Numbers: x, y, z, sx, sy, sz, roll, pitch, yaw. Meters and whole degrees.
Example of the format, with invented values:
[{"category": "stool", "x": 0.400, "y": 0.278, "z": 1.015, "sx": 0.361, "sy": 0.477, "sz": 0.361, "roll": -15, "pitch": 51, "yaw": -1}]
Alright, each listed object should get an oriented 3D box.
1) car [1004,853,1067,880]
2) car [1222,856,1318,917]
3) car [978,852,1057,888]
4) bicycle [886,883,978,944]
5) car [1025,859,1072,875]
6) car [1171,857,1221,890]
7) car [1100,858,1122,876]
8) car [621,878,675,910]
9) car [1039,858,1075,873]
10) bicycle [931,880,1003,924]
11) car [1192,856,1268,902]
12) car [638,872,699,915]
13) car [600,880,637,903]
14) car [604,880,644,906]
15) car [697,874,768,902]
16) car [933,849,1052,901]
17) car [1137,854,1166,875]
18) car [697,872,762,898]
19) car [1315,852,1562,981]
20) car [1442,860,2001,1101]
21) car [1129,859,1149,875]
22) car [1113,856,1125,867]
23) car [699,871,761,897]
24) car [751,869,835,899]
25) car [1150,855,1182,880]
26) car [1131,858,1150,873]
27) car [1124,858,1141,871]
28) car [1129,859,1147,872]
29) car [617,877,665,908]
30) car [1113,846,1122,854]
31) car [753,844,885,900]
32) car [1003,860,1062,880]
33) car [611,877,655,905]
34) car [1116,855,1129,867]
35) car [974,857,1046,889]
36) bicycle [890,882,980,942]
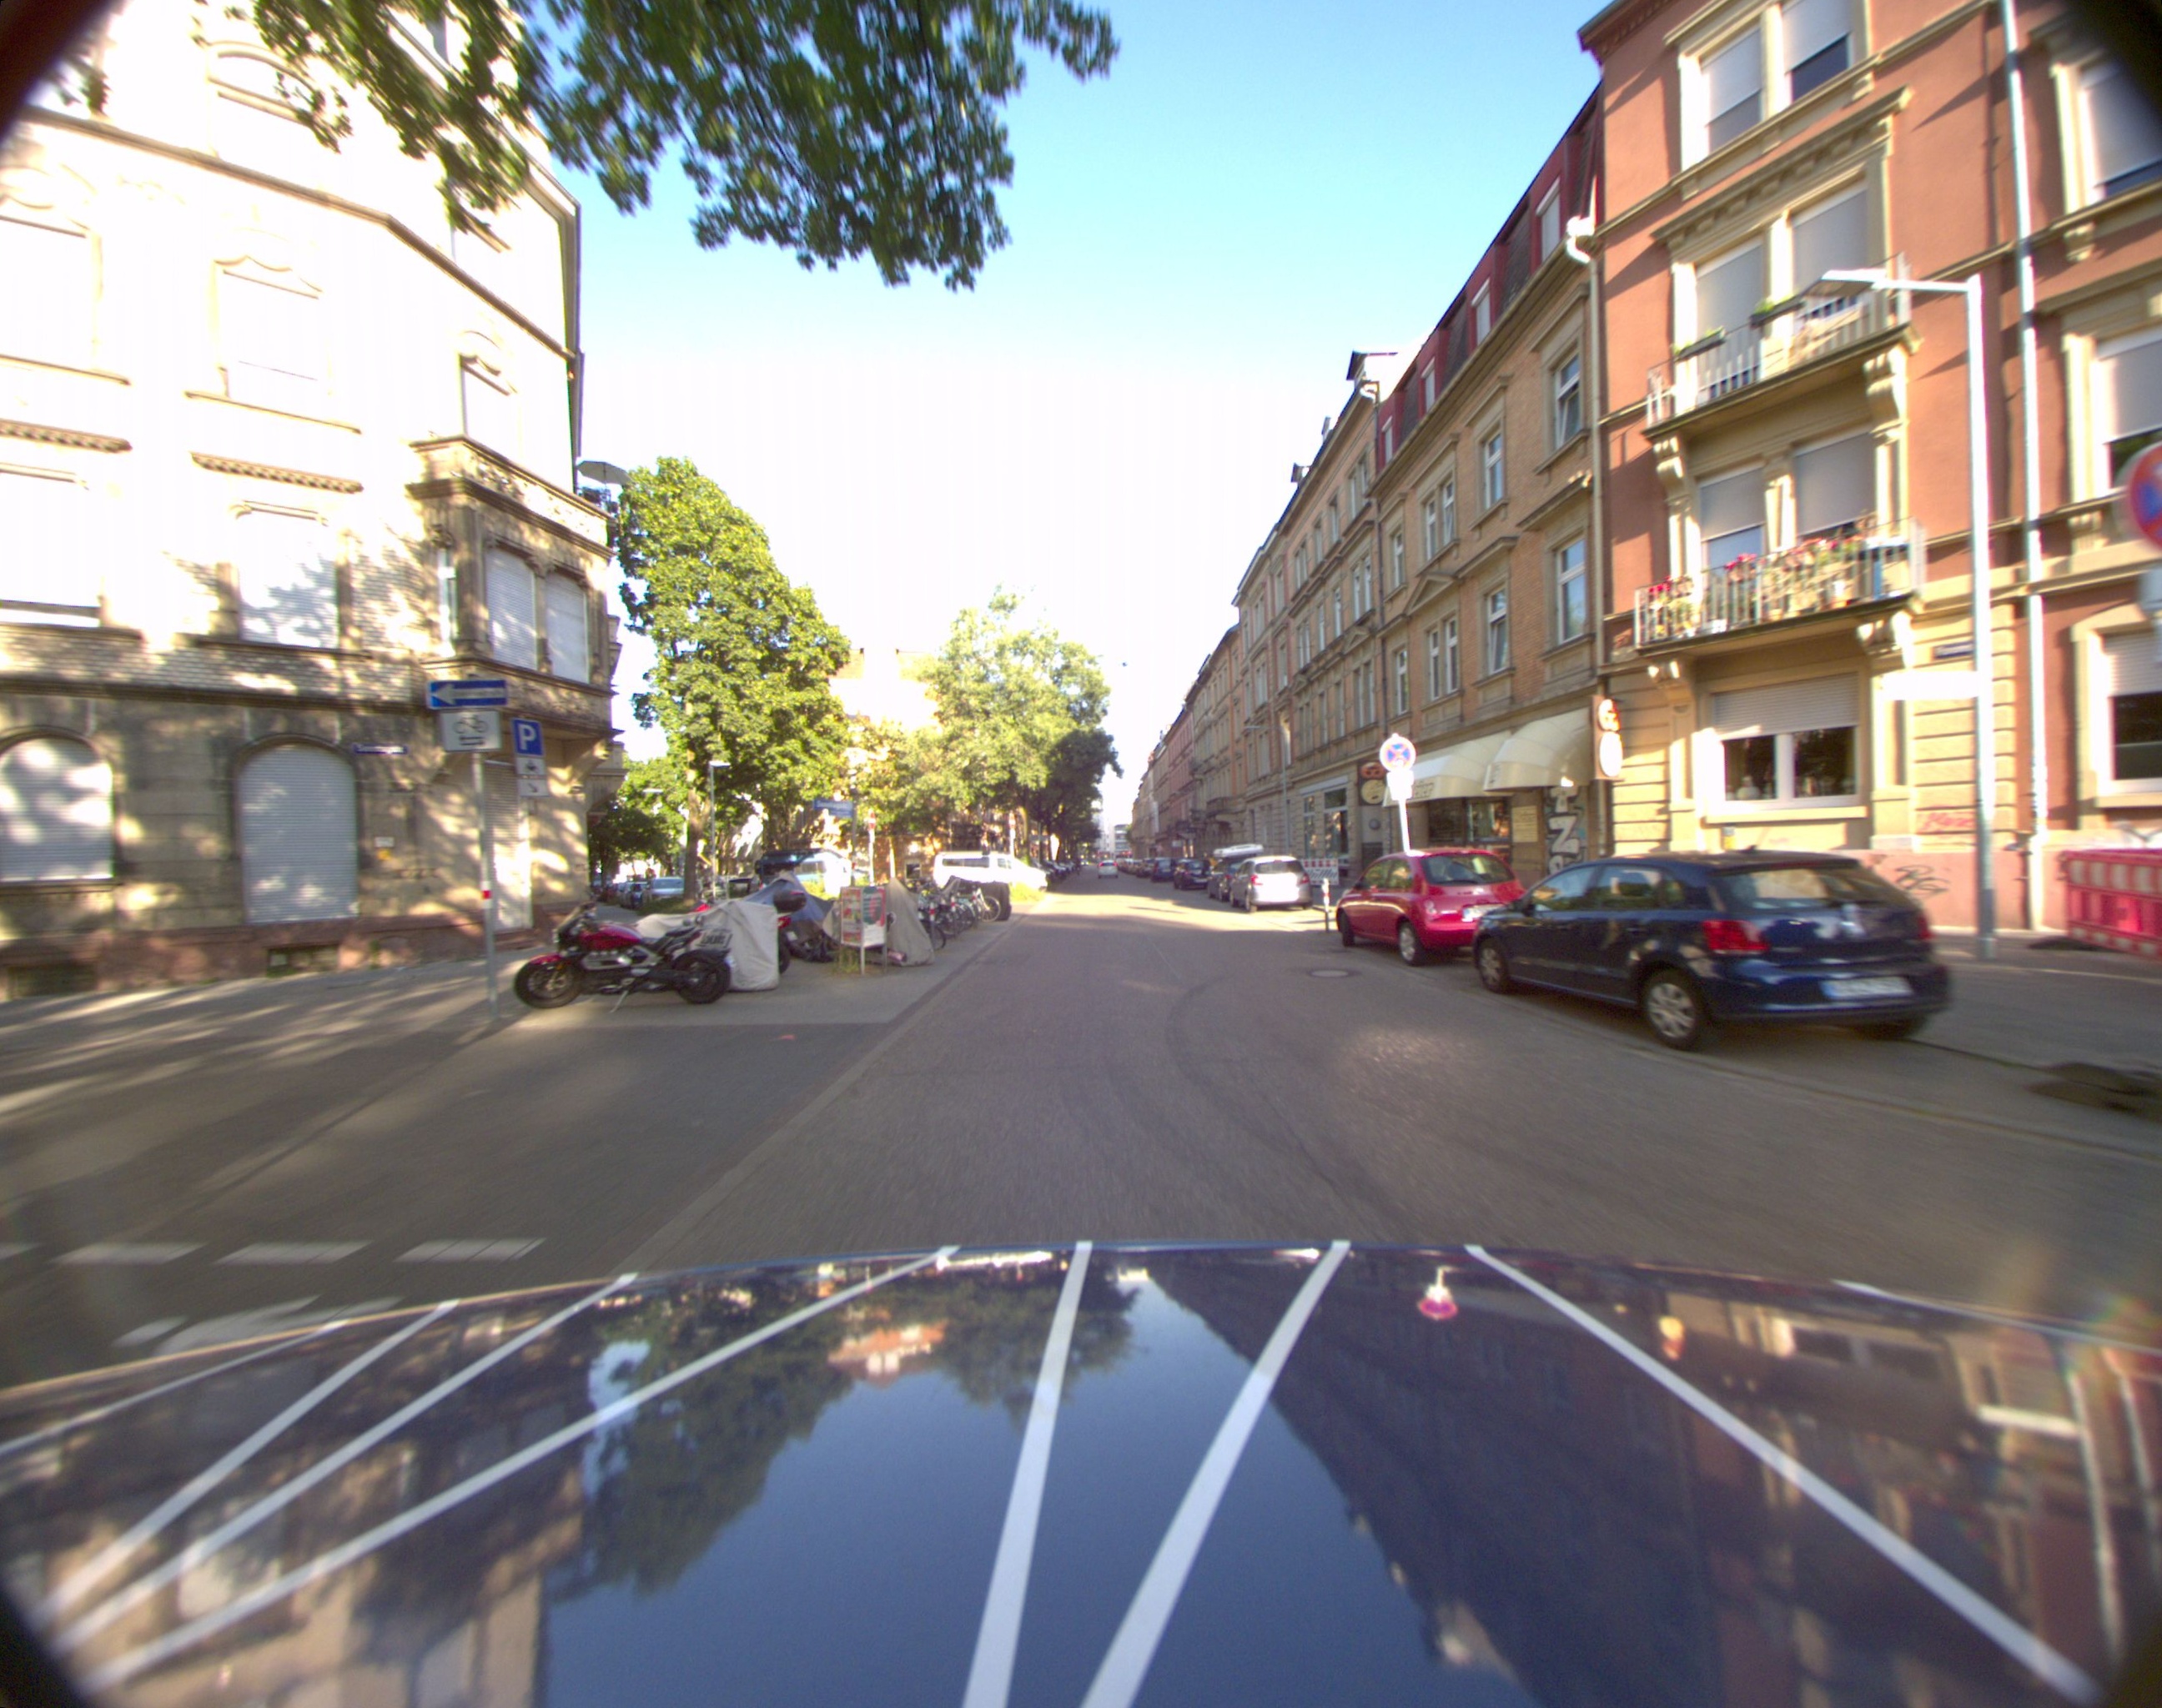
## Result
[{"category": "car", "x": -3.791, "y": 1.023, "z": 64.319, "sx": 5.104, "sy": 1.929, "sz": 2.157, "roll": -2, "pitch": 3, "yaw": 1}, {"category": "car", "x": 5.220, "y": 0.846, "z": 21.521, "sx": 1.729, "sy": 1.429, "sz": 3.996, "roll": -4, "pitch": 0, "yaw": 1}, {"category": "car", "x": -3.864, "y": 0.980, "z": 46.810, "sx": 4.627, "sy": 2.002, "sz": 2.000, "roll": -2, "pitch": 0, "yaw": -1}, {"category": "bicycle", "x": -3.291, "y": 1.303, "z": 16.844, "sx": 1.930, "sy": 1.239, "sz": 0.303, "roll": -3, "pitch": 0, "yaw": -5}, {"category": "car", "x": -3.270, "y": 1.314, "z": 77.757, "sx": 4.563, "sy": 1.520, "sz": 2.000, "roll": -2, "pitch": 0, "yaw": 2}, {"category": "car", "x": 5.493, "y": 0.901, "z": 36.728, "sx": 1.708, "sy": 1.445, "sz": 4.020, "roll": -2, "pitch": 0, "yaw": 0}, {"category": "car", "x": 2.585, "y": 1.088, "z": 66.401, "sx": 1.753, "sy": 1.500, "sz": 4.000, "roll": -2, "pitch": 0, "yaw": 2}, {"category": "car", "x": -22.329, "y": 2.005, "z": 39.146, "sx": 1.870, "sy": 1.466, "sz": 4.234, "roll": -2, "pitch": 0, "yaw": -36}, {"category": "car", "x": -3.102, "y": 1.467, "z": 99.073, "sx": 4.487, "sy": 1.647, "sz": 1.891, "roll": -2, "pitch": 1, "yaw": 0}, {"category": "bicycle", "x": -2.997, "y": 1.263, "z": 20.064, "sx": 1.822, "sy": 1.121, "sz": 0.443, "roll": 0, "pitch": 0, "yaw": 0}, {"category": "car", "x": 5.170, "y": 0.837, "z": 26.896, "sx": 1.769, "sy": 1.429, "sz": 4.300, "roll": -2, "pitch": 0, "yaw": -1}, {"category": "car", "x": -17.615, "y": 1.632, "z": 32.364, "sx": 1.784, "sy": 1.601, "sz": 4.207, "roll": -2, "pitch": 0, "yaw": -35}, {"category": "car", "x": -33.512, "y": 2.683, "z": 55.032, "sx": 1.870, "sy": 1.573, "sz": 4.234, "roll": -2, "pitch": 0, "yaw": -36}, {"category": "car", "x": -30.631, "y": 2.566, "z": 50.853, "sx": 1.870, "sy": 1.573, "sz": 4.234, "roll": -2, "pitch": 0, "yaw": -36}, {"category": "car", "x": -23.208, "y": 2.235, "z": 50.715, "sx": 4.001, "sy": 1.555, "sz": 1.780, "roll": -3, "pitch": 0, "yaw": -14}, {"category": "car", "x": -3.867, "y": 0.898, "z": 33.870, "sx": 4.986, "sy": 2.083, "sz": 2.106, "roll": -2, "pitch": 0, "yaw": 1}, {"category": "car", "x": 5.750, "y": 0.850, "z": 62.263, "sx": 1.652, "sy": 1.565, "sz": 4.048, "roll": -5, "pitch": 0, "yaw": -3}, {"category": "car", "x": -26.270, "y": 2.300, "z": 56.863, "sx": 4.000, "sy": 1.710, "sz": 1.780, "roll": -3, "pitch": 0, "yaw": -11}, {"category": "car", "x": 5.023, "y": 0.768, "z": 11.345, "sx": 1.674, "sy": 1.521, "sz": 3.999, "roll": -3, "pitch": 0, "yaw": -1}, {"category": "car", "x": 5.077, "y": 0.831, "z": 6.891, "sx": 1.673, "sy": 1.449, "sz": 4.000, "roll": -3, "pitch": 0, "yaw": 0}, {"category": "car", "x": 5.552, "y": 1.206, "z": 73.166, "sx": 1.586, "sy": 1.464, "sz": 4.000, "roll": -2, "pitch": 0, "yaw": 1}, {"category": "car", "x": 7.196, "y": 1.417, "z": 144.614, "sx": 1.947, "sy": 2.044, "sz": 4.745, "roll": -3, "pitch": 0, "yaw": 1}, {"category": "car", "x": -27.371, "y": 2.347, "z": 59.332, "sx": 4.000, "sy": 1.710, "sz": 1.780, "roll": -3, "pitch": 0, "yaw": -11}, {"category": "car", "x": -16.483, "y": 1.691, "z": 43.650, "sx": 4.066, "sy": 1.501, "sz": 1.863, "roll": -2, "pitch": 0, "yaw": -3}, {"category": "car", "x": 5.651, "y": 0.861, "z": 51.049, "sx": 1.746, "sy": 1.558, "sz": 3.895, "roll": -2, "pitch": 0, "yaw": 1}, {"category": "car", "x": 6.060, "y": 1.171, "z": 77.467, "sx": 1.709, "sy": 1.430, "sz": 3.959, "roll": -2, "pitch": 0, "yaw": 1}, {"category": "car", "x": 6.340, "y": 1.285, "z": 93.726, "sx": 1.825, "sy": 1.417, "sz": 4.314, "roll": -3, "pitch": 0, "yaw": 1}, {"category": "car", "x": 6.109, "y": 1.265, "z": 82.254, "sx": 1.709, "sy": 1.315, "sz": 4.101, "roll": -2, "pitch": 0, "yaw": 1}, {"category": "car", "x": -25.035, "y": 2.168, "z": 43.166, "sx": 1.870, "sy": 1.573, "sz": 4.234, "roll": -2, "pitch": 0, "yaw": -36}, {"category": "car", "x": 7.861, "y": -0.911, "z": 165.725, "sx": 1.868, "sy": 1.619, "sz": 3.826, "roll": -3, "pitch": 0, "yaw": 3}, {"category": "car", "x": -13.322, "y": 0.884, "z": 38.977, "sx": 5.912, "sy": 2.522, "sz": 2.379, "roll": -2, "pitch": 0, "yaw": -5}, {"category": "car", "x": -3.716, "y": 1.240, "z": 59.076, "sx": 4.380, "sy": 1.447, "sz": 1.934, "roll": -2, "pitch": 0, "yaw": 1}, {"category": "car", "x": -27.676, "y": 2.230, "z": 46.897, "sx": 1.870, "sy": 1.573, "sz": 4.234, "roll": -2, "pitch": 0, "yaw": -36}, {"category": "car", "x": 6.950, "y": 1.184, "z": 127.316, "sx": 1.847, "sy": 1.822, "sz": 4.607, "roll": -3, "pitch": 0, "yaw": 0}, {"category": "car", "x": -4.098, "y": 1.075, "z": 44.303, "sx": 3.997, "sy": 1.682, "sz": 1.800, "roll": -2, "pitch": 0, "yaw": -1}, {"category": "bicycle", "x": -3.287, "y": 1.310, "z": 17.191, "sx": 1.930, "sy": 1.239, "sz": 0.303, "roll": -3, "pitch": 0, "yaw": -5}]
